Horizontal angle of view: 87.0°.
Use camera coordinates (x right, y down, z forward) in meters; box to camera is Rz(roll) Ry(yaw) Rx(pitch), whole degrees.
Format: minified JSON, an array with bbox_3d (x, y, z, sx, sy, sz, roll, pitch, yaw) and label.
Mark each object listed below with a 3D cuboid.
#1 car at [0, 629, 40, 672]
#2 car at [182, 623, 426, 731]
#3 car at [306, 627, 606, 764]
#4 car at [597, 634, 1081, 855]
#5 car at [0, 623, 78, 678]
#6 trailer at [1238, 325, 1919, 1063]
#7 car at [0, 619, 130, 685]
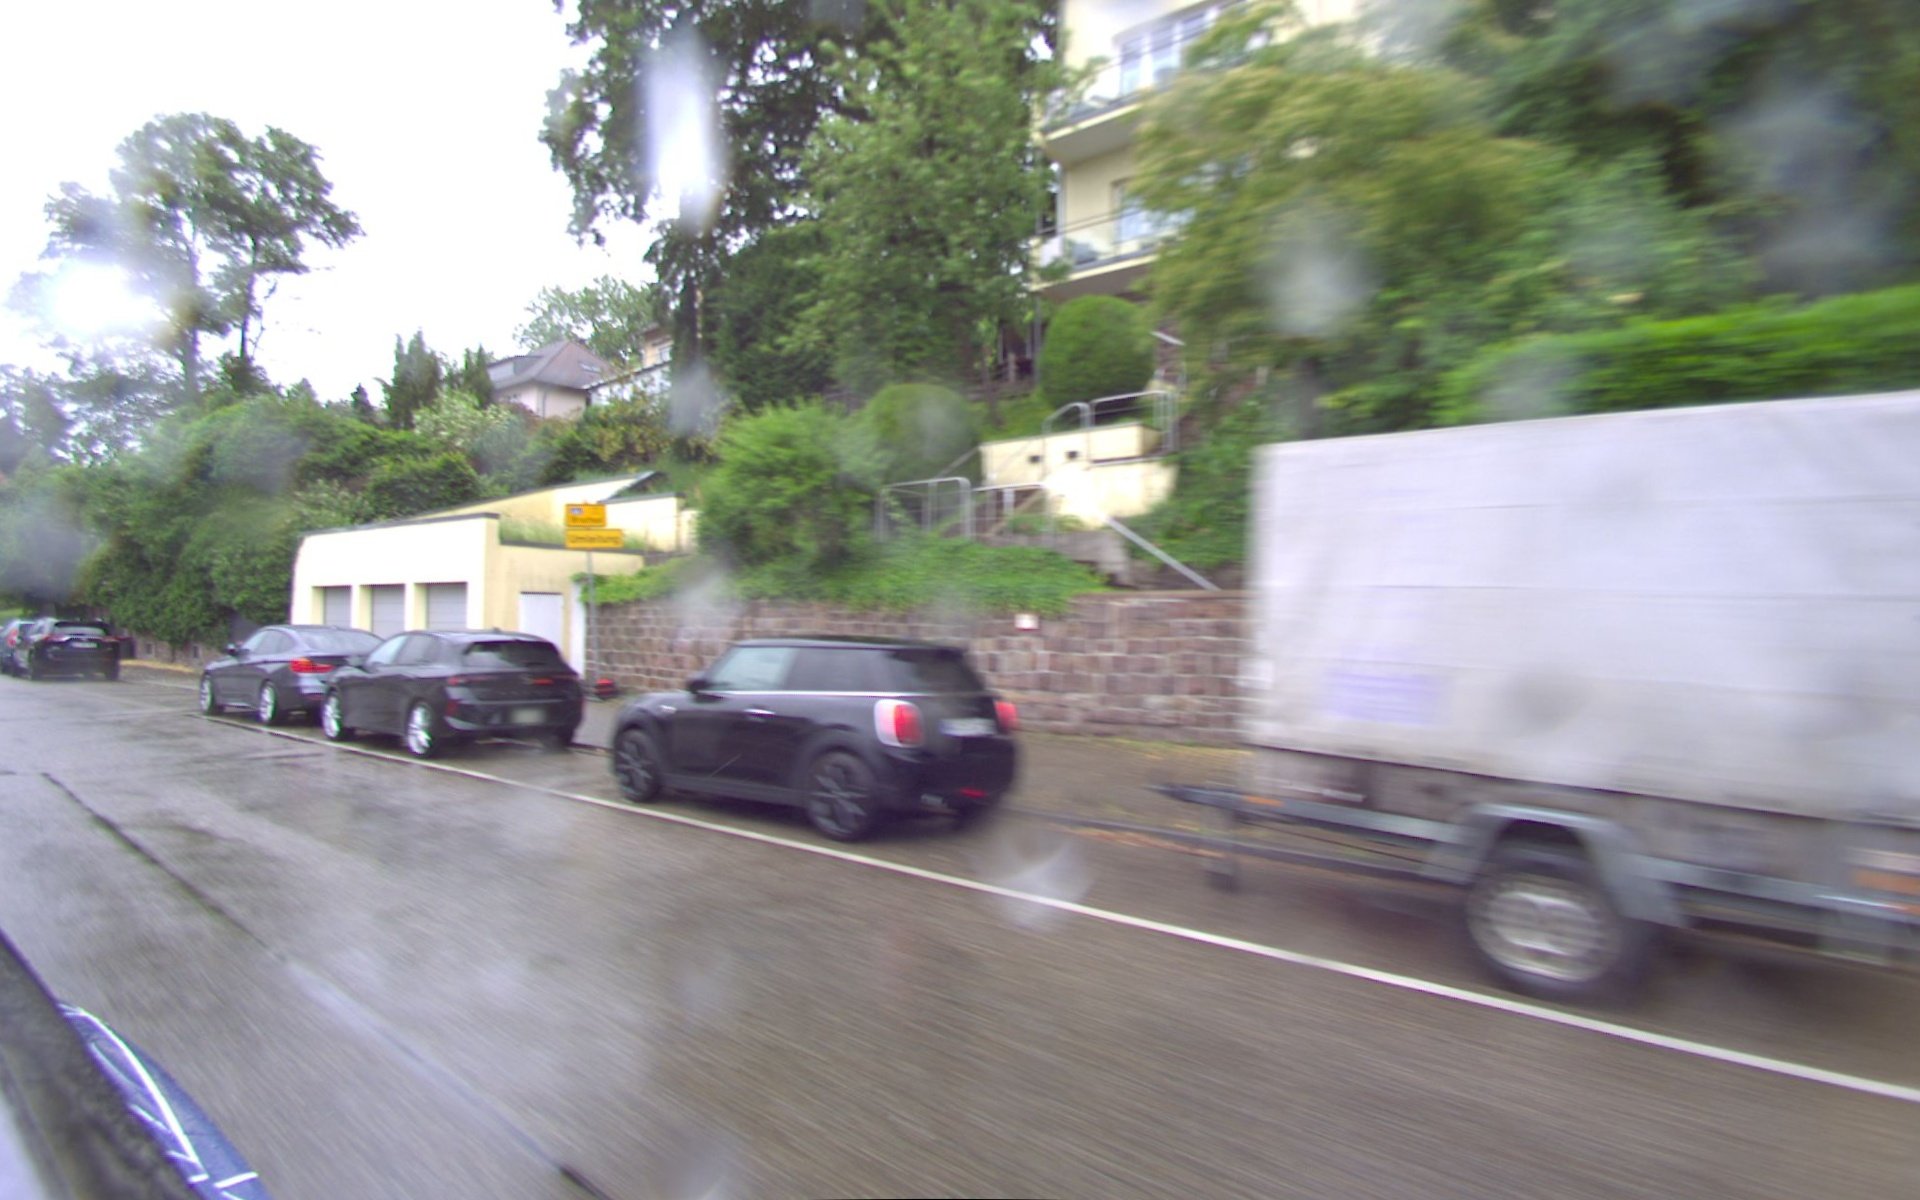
[{"bbox_3d":[-32.464,1.662,33.805,4.075,1.376,1.701,-2,-4,36],"label":"car"},{"bbox_3d":[-10.438,1.147,15.969,4.749,1.466,1.768,-2,-4,39],"label":"car"},{"bbox_3d":[-6.349,1.076,12.556,4.213,1.426,1.767,-2,-4,40],"label":"car"},{"bbox_3d":[-1.094,0.975,8.193,3.772,1.360,1.790,-2,-4,40],"label":"car"},{"bbox_3d":[-28.728,1.543,31.128,4.105,1.573,1.724,-1,-4,40],"label":"car"},{"bbox_3d":[3.012,0.352,4.510,3.073,2.418,1.519,-2,-4,43],"label":"trailer"},{"bbox_3d":[-24.550,1.425,27.710,4.588,1.638,1.856,-2,-5,39],"label":"car"}]
